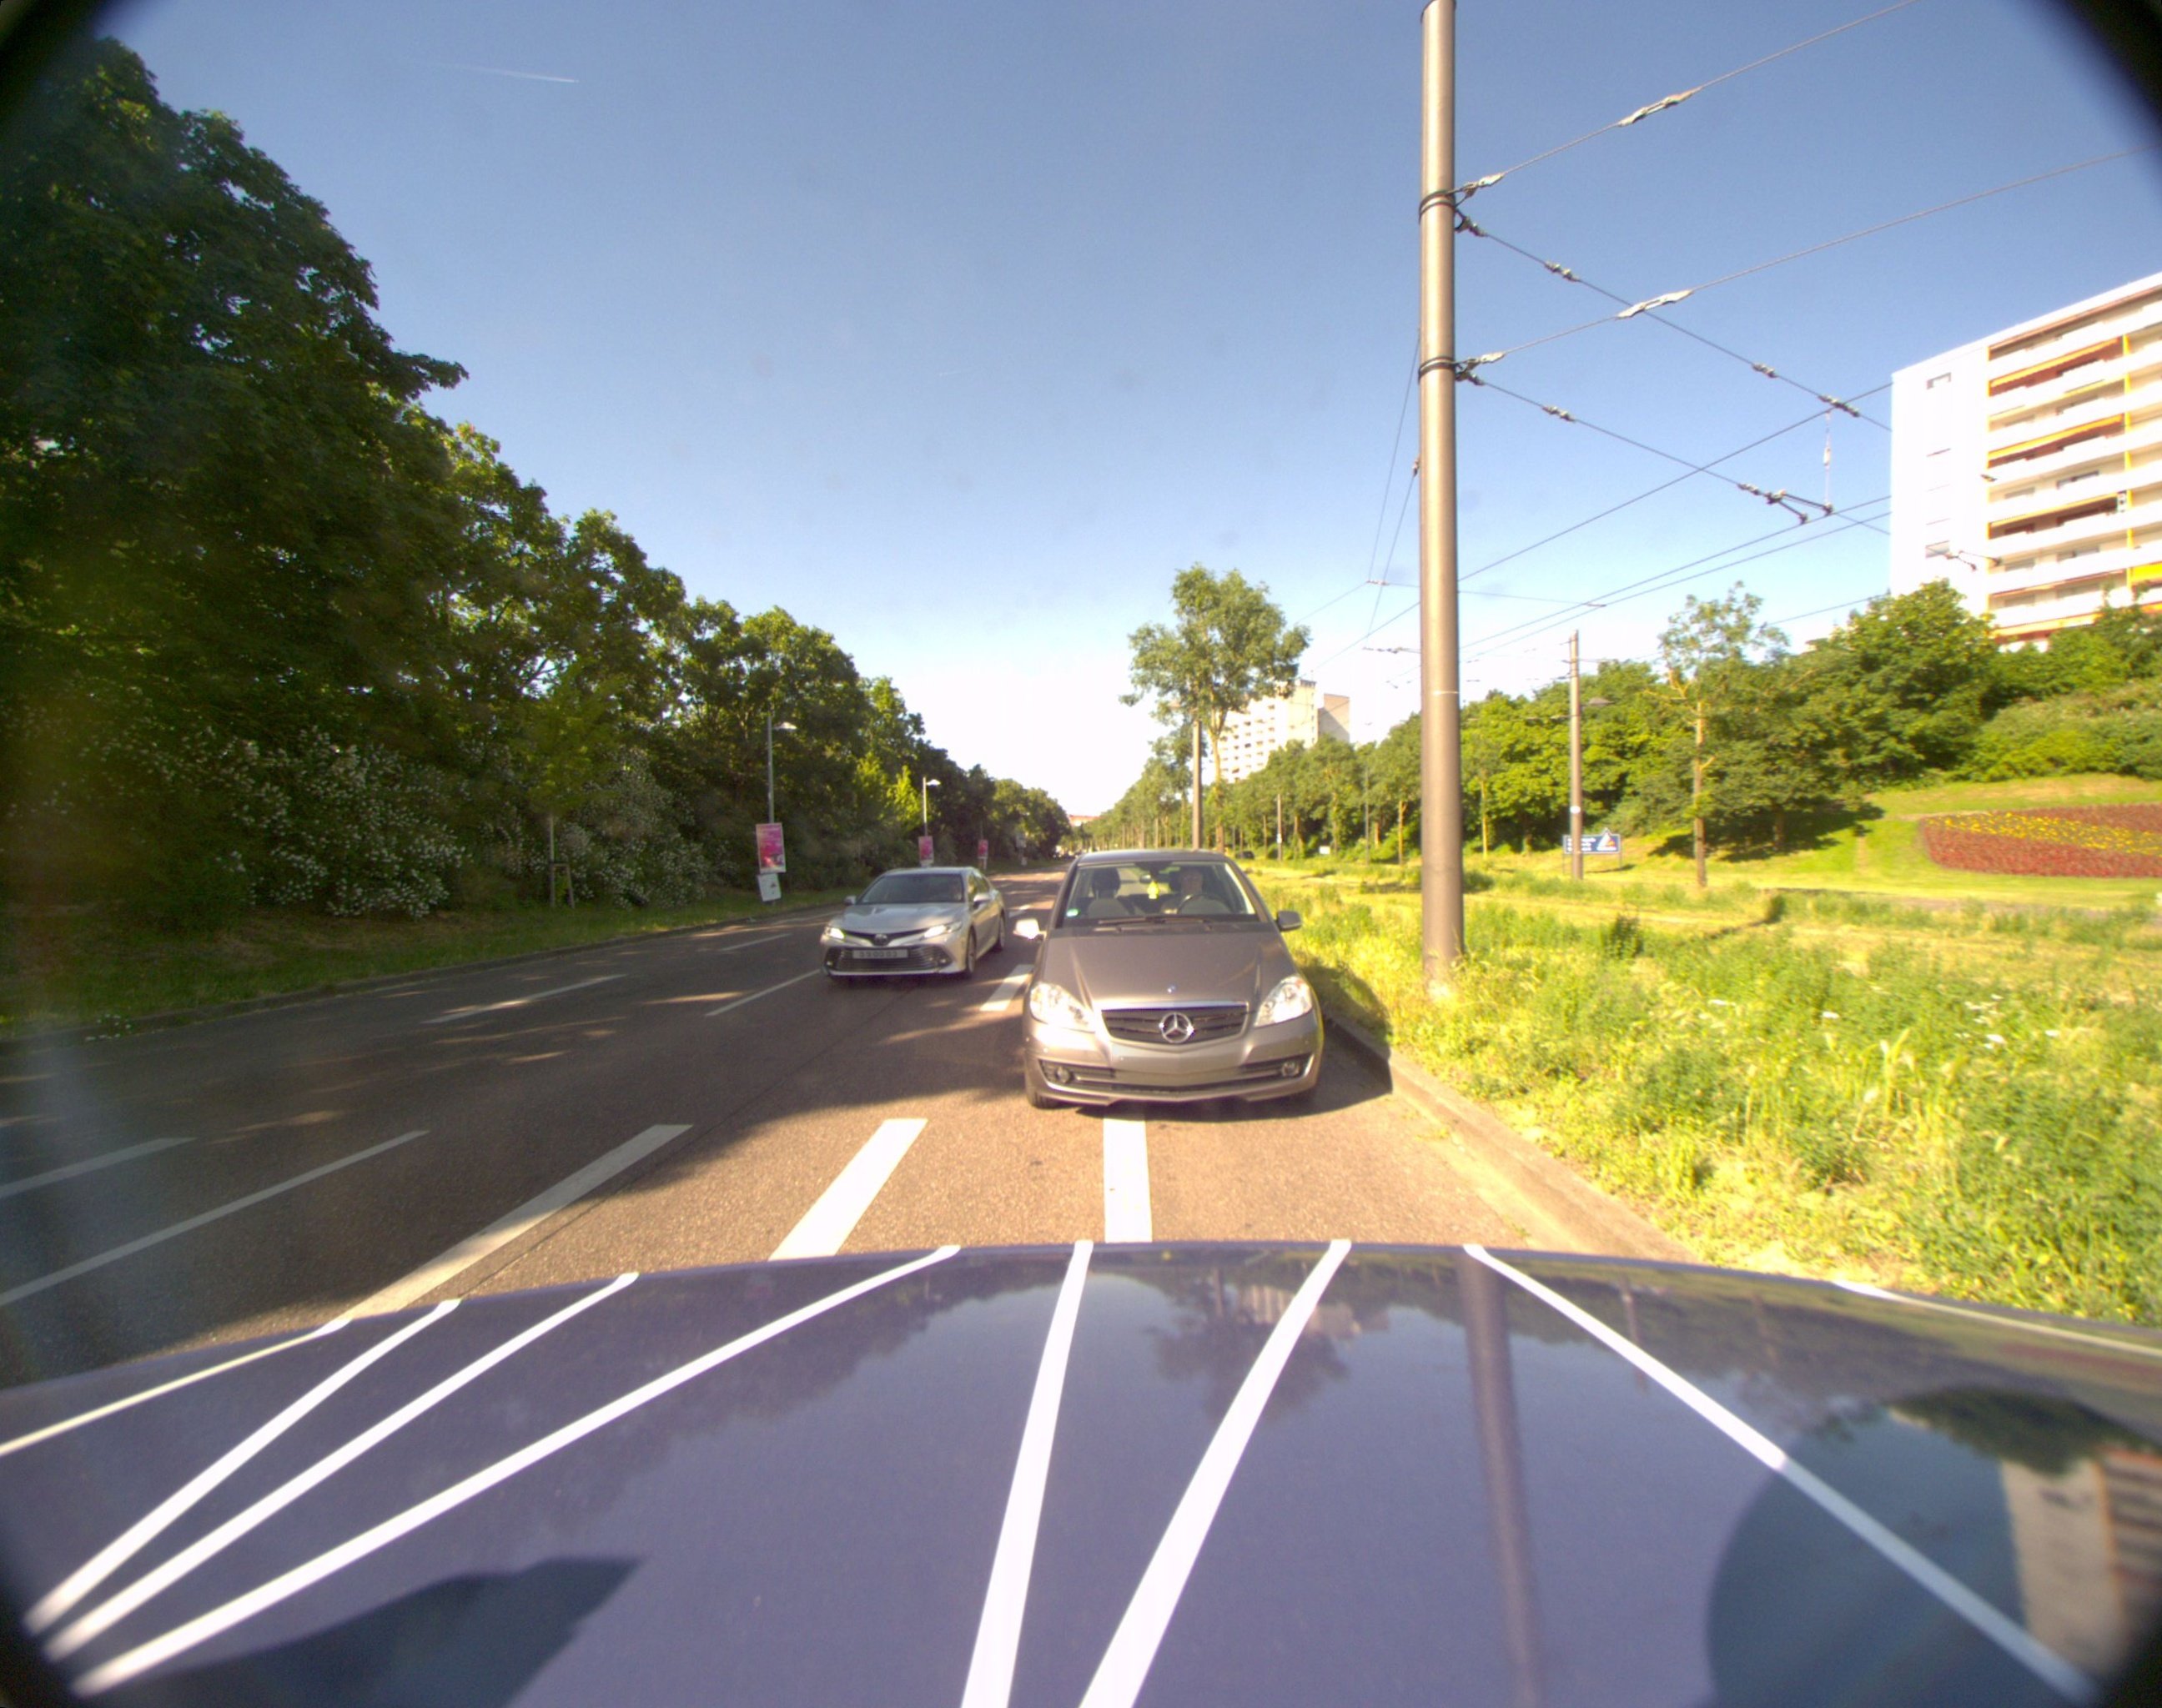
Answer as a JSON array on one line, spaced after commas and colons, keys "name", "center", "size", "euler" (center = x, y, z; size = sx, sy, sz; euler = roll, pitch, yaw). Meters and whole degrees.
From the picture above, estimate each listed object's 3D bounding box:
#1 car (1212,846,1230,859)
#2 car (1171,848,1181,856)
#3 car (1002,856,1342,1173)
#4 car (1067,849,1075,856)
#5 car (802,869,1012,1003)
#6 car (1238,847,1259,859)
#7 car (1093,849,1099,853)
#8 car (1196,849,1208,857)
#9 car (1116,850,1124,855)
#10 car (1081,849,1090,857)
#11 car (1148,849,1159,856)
[{"name": "car", "center": [21.817, -0.275, 118.860], "size": [1.998, 1.955, 4.907], "euler": [-1, 0, 1]}, {"name": "car", "center": [19.776, -0.441, 157.996], "size": [1.792, 1.499, 4.241], "euler": [-1, 0, 3]}, {"name": "car", "center": [0.502, 0.852, 5.917], "size": [1.759, 1.612, 3.880], "euler": [-1, 0, 1]}, {"name": "car", "center": [-2.679, -0.373, 199.804], "size": [1.998, 1.702, 4.000], "euler": [-1, 0, 1]}, {"name": "car", "center": [-2.242, 1.001, 11.157], "size": [1.875, 1.428, 4.594], "euler": [-1, 0, 2]}, {"name": "car", "center": [22.633, -0.090, 102.897], "size": [1.998, 1.565, 4.106], "euler": [-1, 0, 1]}, {"name": "car", "center": [5.185, -0.997, 262.913], "size": [1.803, 1.455, 3.998], "euler": [0, 1, -4]}, {"name": "car", "center": [21.784, -0.206, 136.853], "size": [1.780, 1.368, 4.001], "euler": [-1, 0, 3]}, {"name": "car", "center": [11.910, -0.353, 232.266], "size": [1.802, 1.455, 3.999], "euler": [-1, 0, -2]}, {"name": "car", "center": [0.946, -0.150, 170.543], "size": [1.998, 1.702, 4.000], "euler": [-1, 0, 1]}, {"name": "car", "center": [15.782, -0.330, 165.009], "size": [1.800, 1.408, 4.308], "euler": [-1, 0, -3]}]
